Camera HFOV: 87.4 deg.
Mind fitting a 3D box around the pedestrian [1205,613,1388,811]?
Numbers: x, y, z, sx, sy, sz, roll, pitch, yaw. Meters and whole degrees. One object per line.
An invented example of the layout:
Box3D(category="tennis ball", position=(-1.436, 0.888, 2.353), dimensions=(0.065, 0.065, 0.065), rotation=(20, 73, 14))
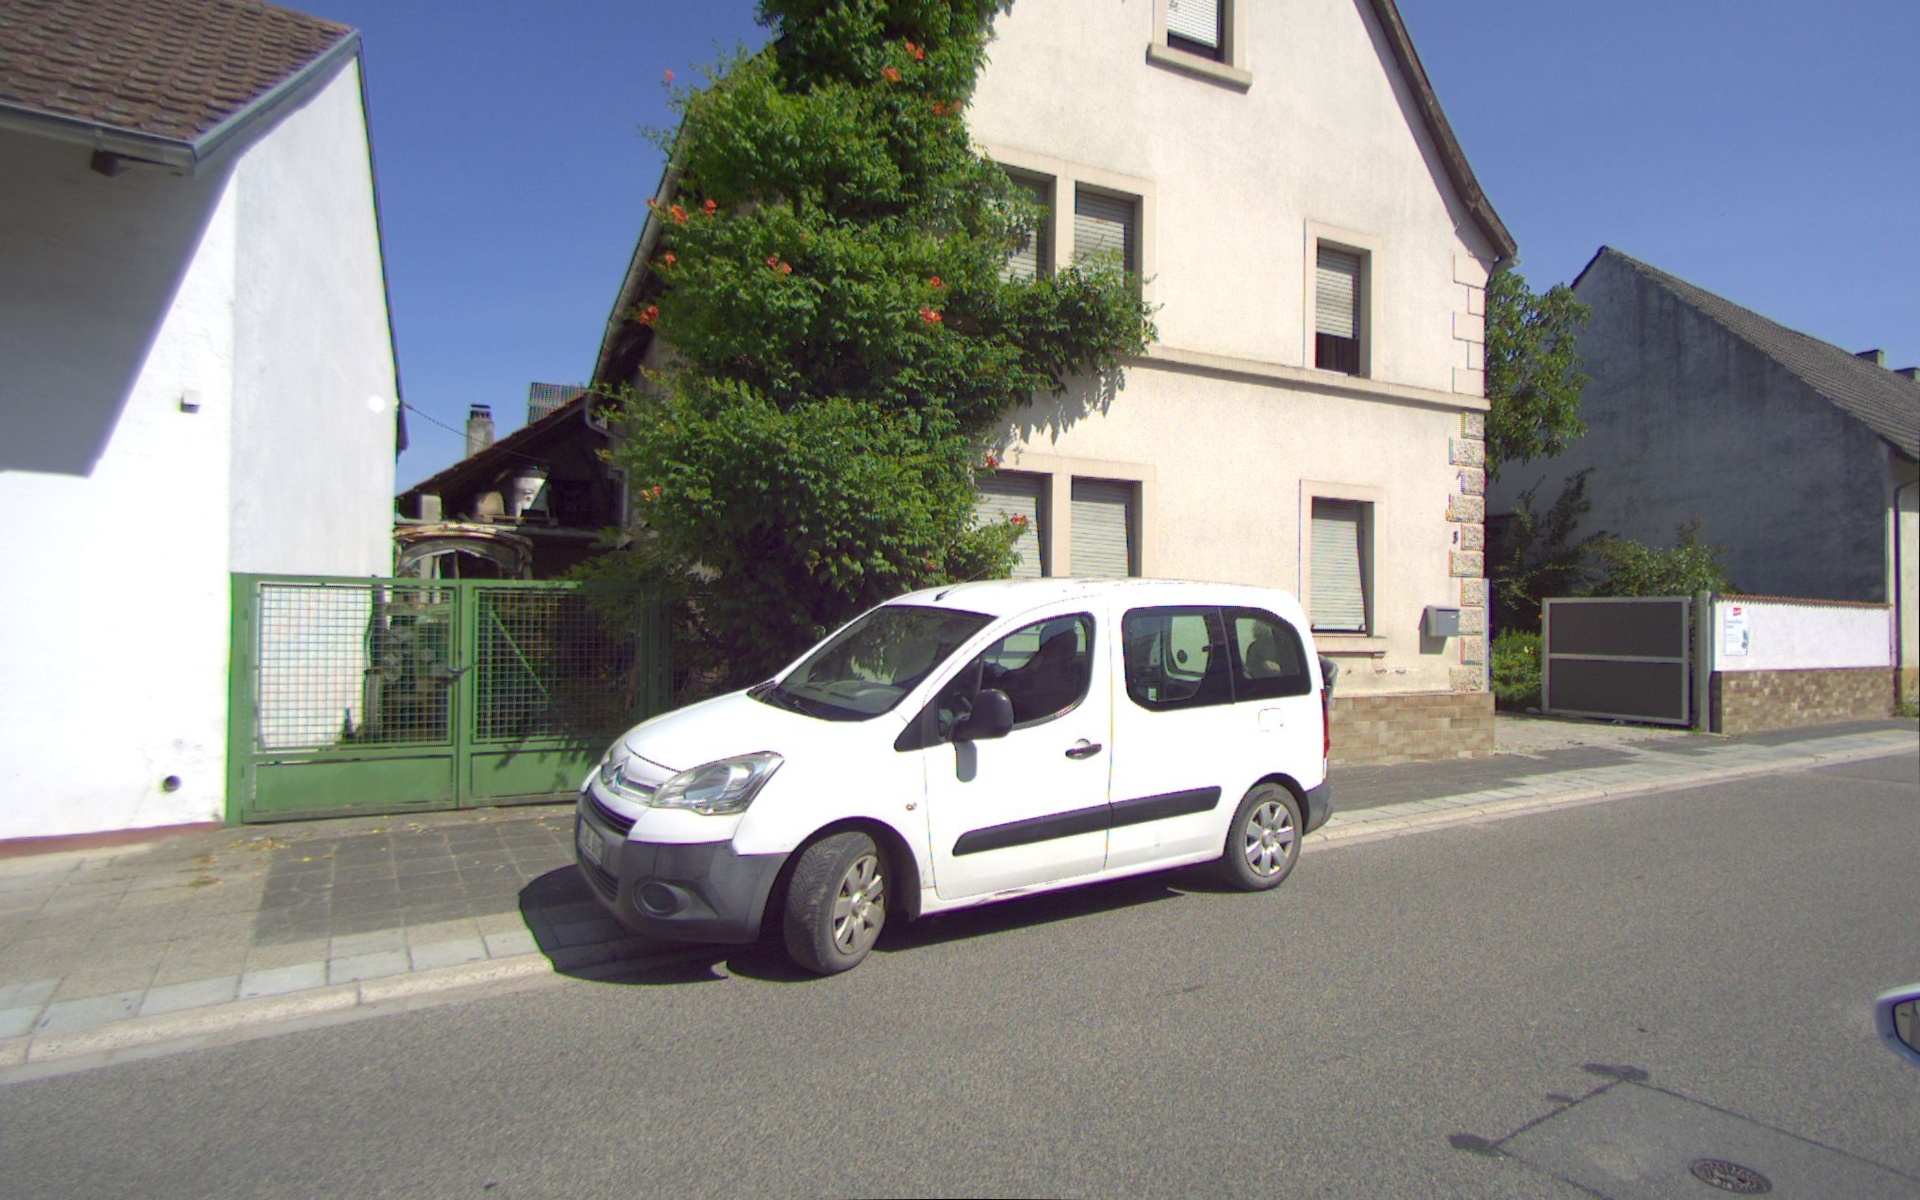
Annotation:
Box3D(category="pedestrian", position=(2.901, 0.905, 8.702), dimensions=(1.126, 1.572, 1.009), rotation=(1, -1, -29))

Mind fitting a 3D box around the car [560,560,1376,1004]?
Box3D(category="car", position=(0.203, 0.741, 5.740), dimensions=(4.380, 1.669, 1.845), rotation=(1, -1, -32))
